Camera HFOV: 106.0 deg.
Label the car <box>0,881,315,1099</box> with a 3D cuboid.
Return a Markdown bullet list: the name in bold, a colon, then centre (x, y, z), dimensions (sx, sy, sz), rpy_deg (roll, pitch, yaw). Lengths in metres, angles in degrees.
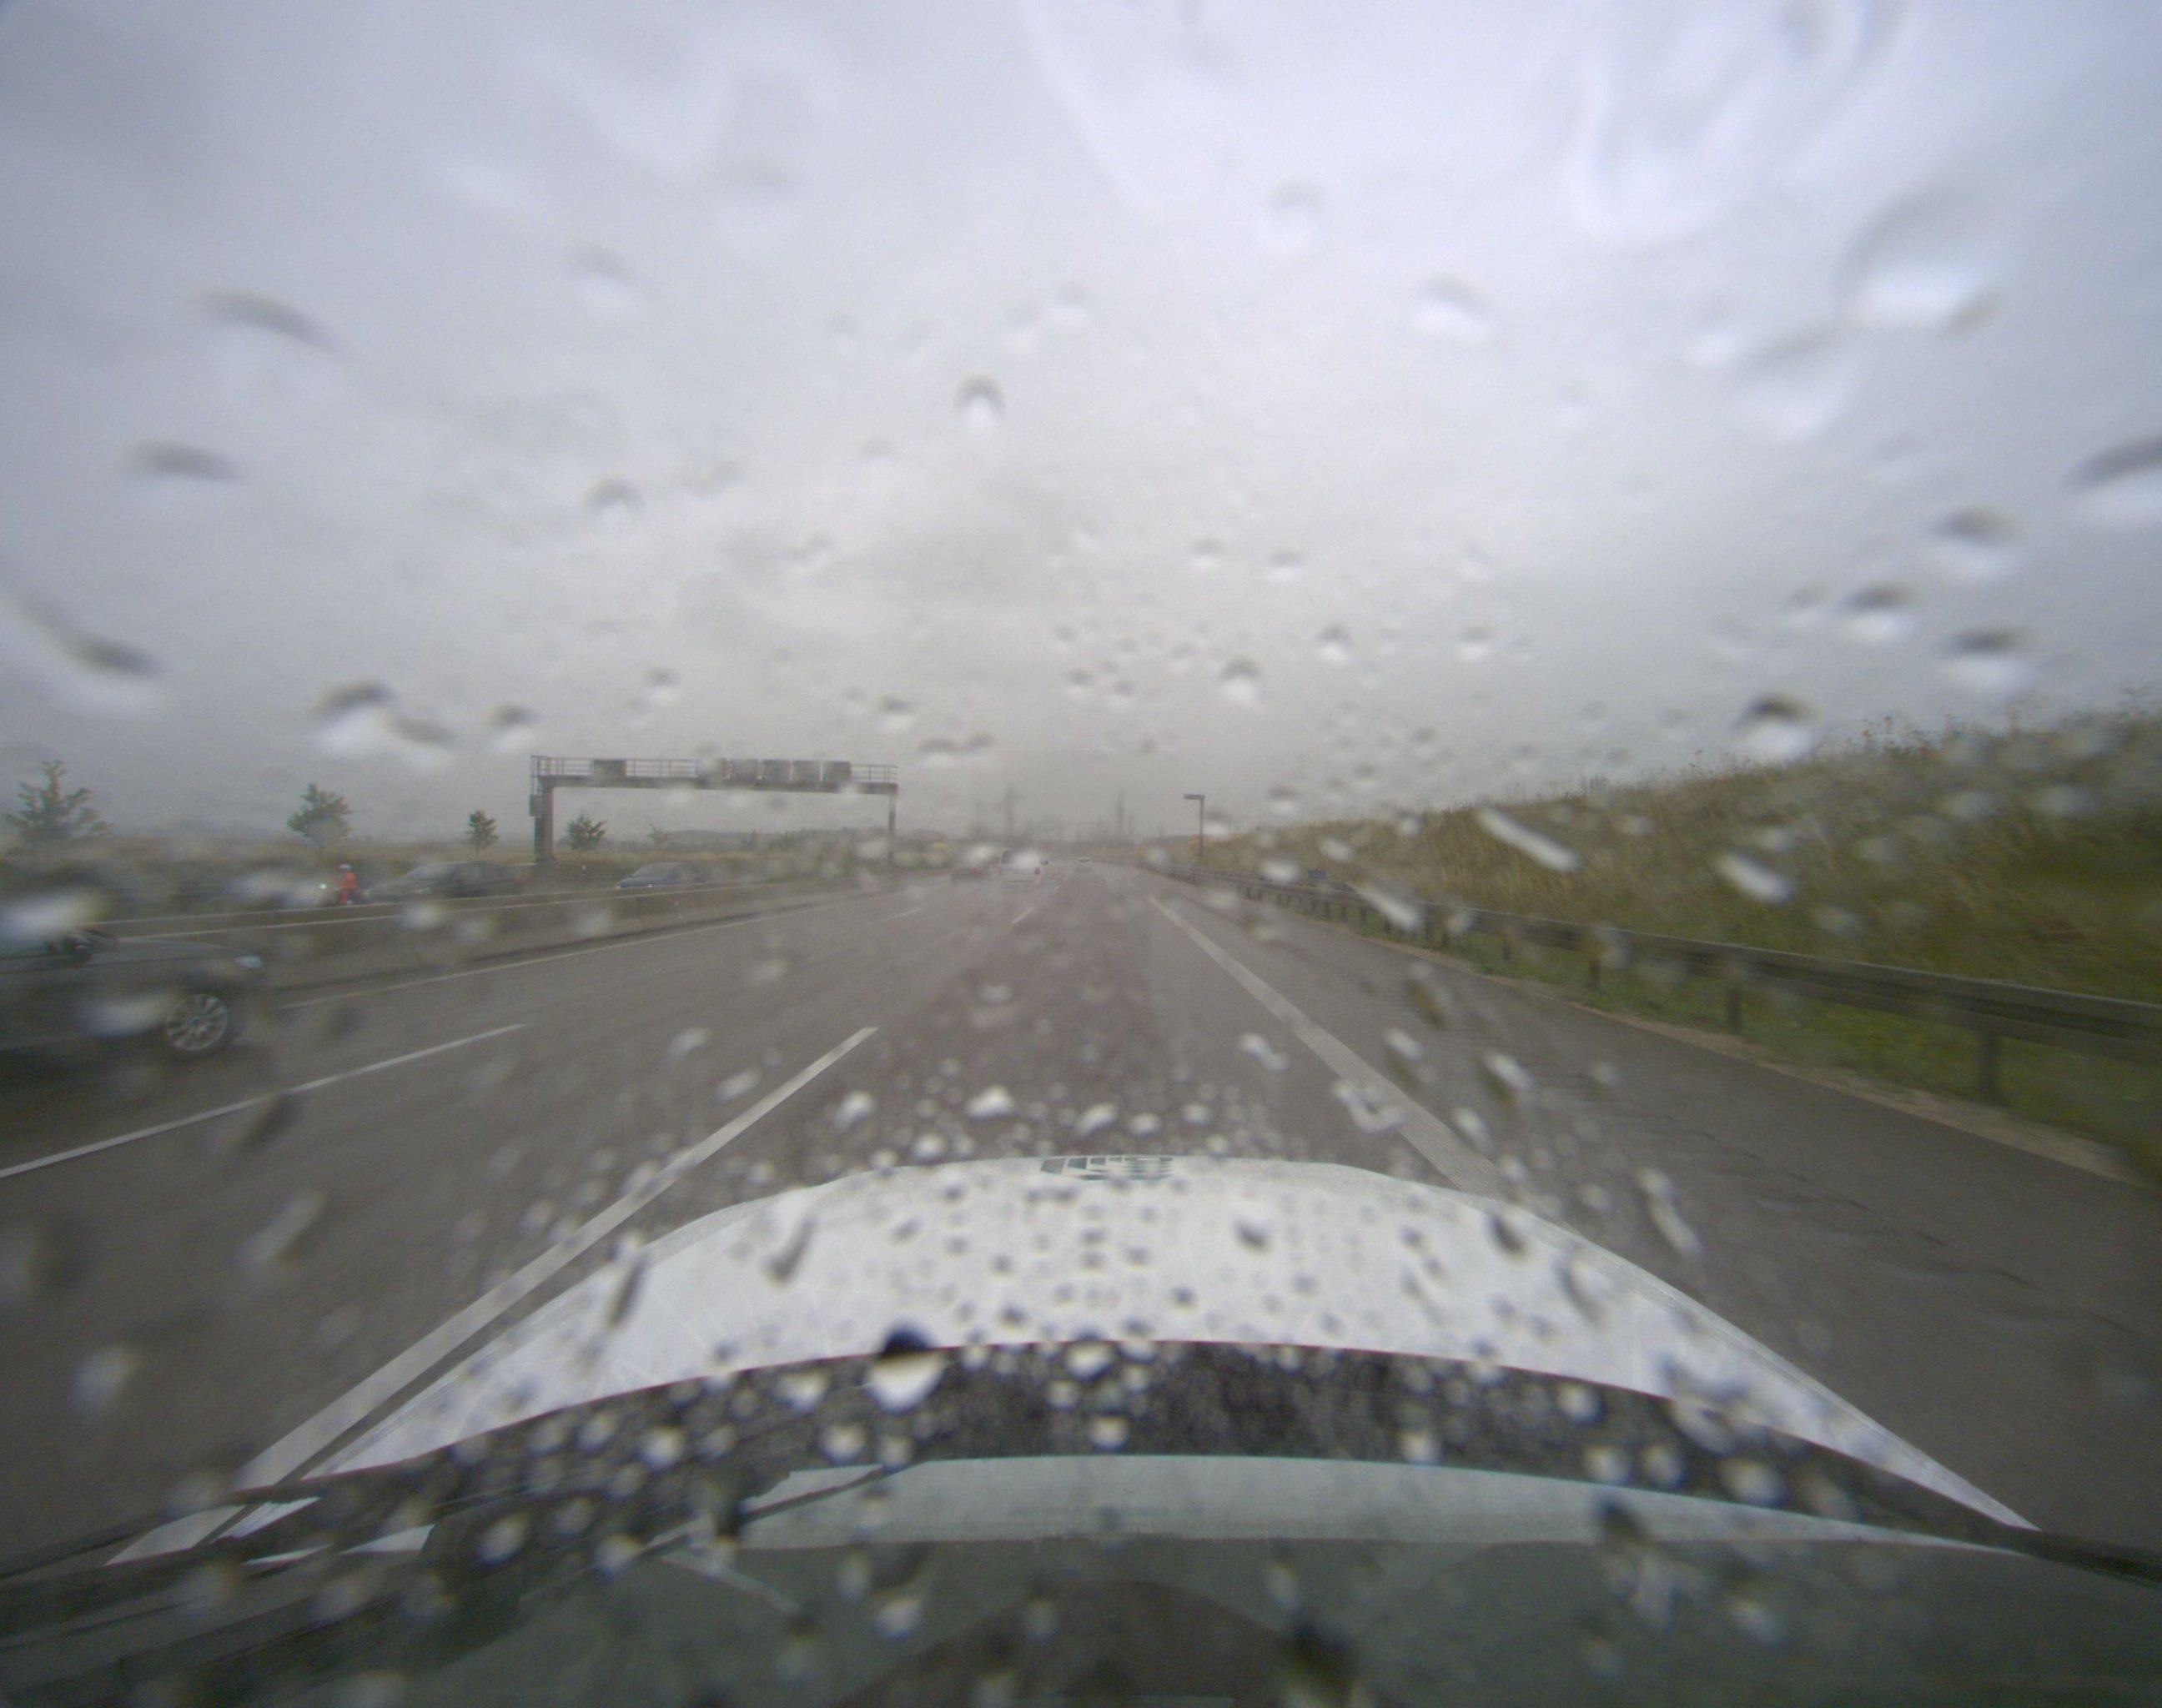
- **car**: centre (-7.825, 0.924, 5.451), dimensions (1.608, 1.354, 3.999), rpy_deg (-1, 0, 0)

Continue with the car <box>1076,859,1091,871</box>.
- **car**: centre (0.281, 1.078, 81.537), dimensions (1.463, 1.208, 2.990), rpy_deg (-1, 0, 0)

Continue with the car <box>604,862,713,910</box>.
- **car**: centre (-15.287, 1.119, 29.733), dimensions (1.813, 1.574, 4.086), rpy_deg (-1, 0, 1)

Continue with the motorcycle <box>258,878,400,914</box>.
- **motorcycle**: centre (-22.545, 1.228, 24.580), dimensions (0.915, 0.913, 3.546), rpy_deg (-1, 0, 2)

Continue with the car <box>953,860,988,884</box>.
- **car**: centre (-6.208, 0.999, 46.106), dimensions (1.463, 1.257, 3.340), rpy_deg (-1, -1, 0)

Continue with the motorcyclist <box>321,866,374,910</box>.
- **motorcyclist**: centre (-22.513, 1.024, 25.002), dimensions (0.746, 1.308, 0.941), rpy_deg (-1, 0, 0)

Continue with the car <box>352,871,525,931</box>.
- **car**: centre (-18.290, 1.286, 23.455), dimensions (1.688, 1.486, 4.002), rpy_deg (-1, 0, 2)

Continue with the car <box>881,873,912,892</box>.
- **car**: centre (-17.885, 2.755, 79.176), dimensions (1.987, 1.684, 4.444), rpy_deg (-1, 0, 1)

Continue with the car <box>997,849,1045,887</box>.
- **car**: centre (-2.654, 0.602, 36.851), dimensions (1.892, 1.585, 3.998), rpy_deg (-2, -1, -1)
